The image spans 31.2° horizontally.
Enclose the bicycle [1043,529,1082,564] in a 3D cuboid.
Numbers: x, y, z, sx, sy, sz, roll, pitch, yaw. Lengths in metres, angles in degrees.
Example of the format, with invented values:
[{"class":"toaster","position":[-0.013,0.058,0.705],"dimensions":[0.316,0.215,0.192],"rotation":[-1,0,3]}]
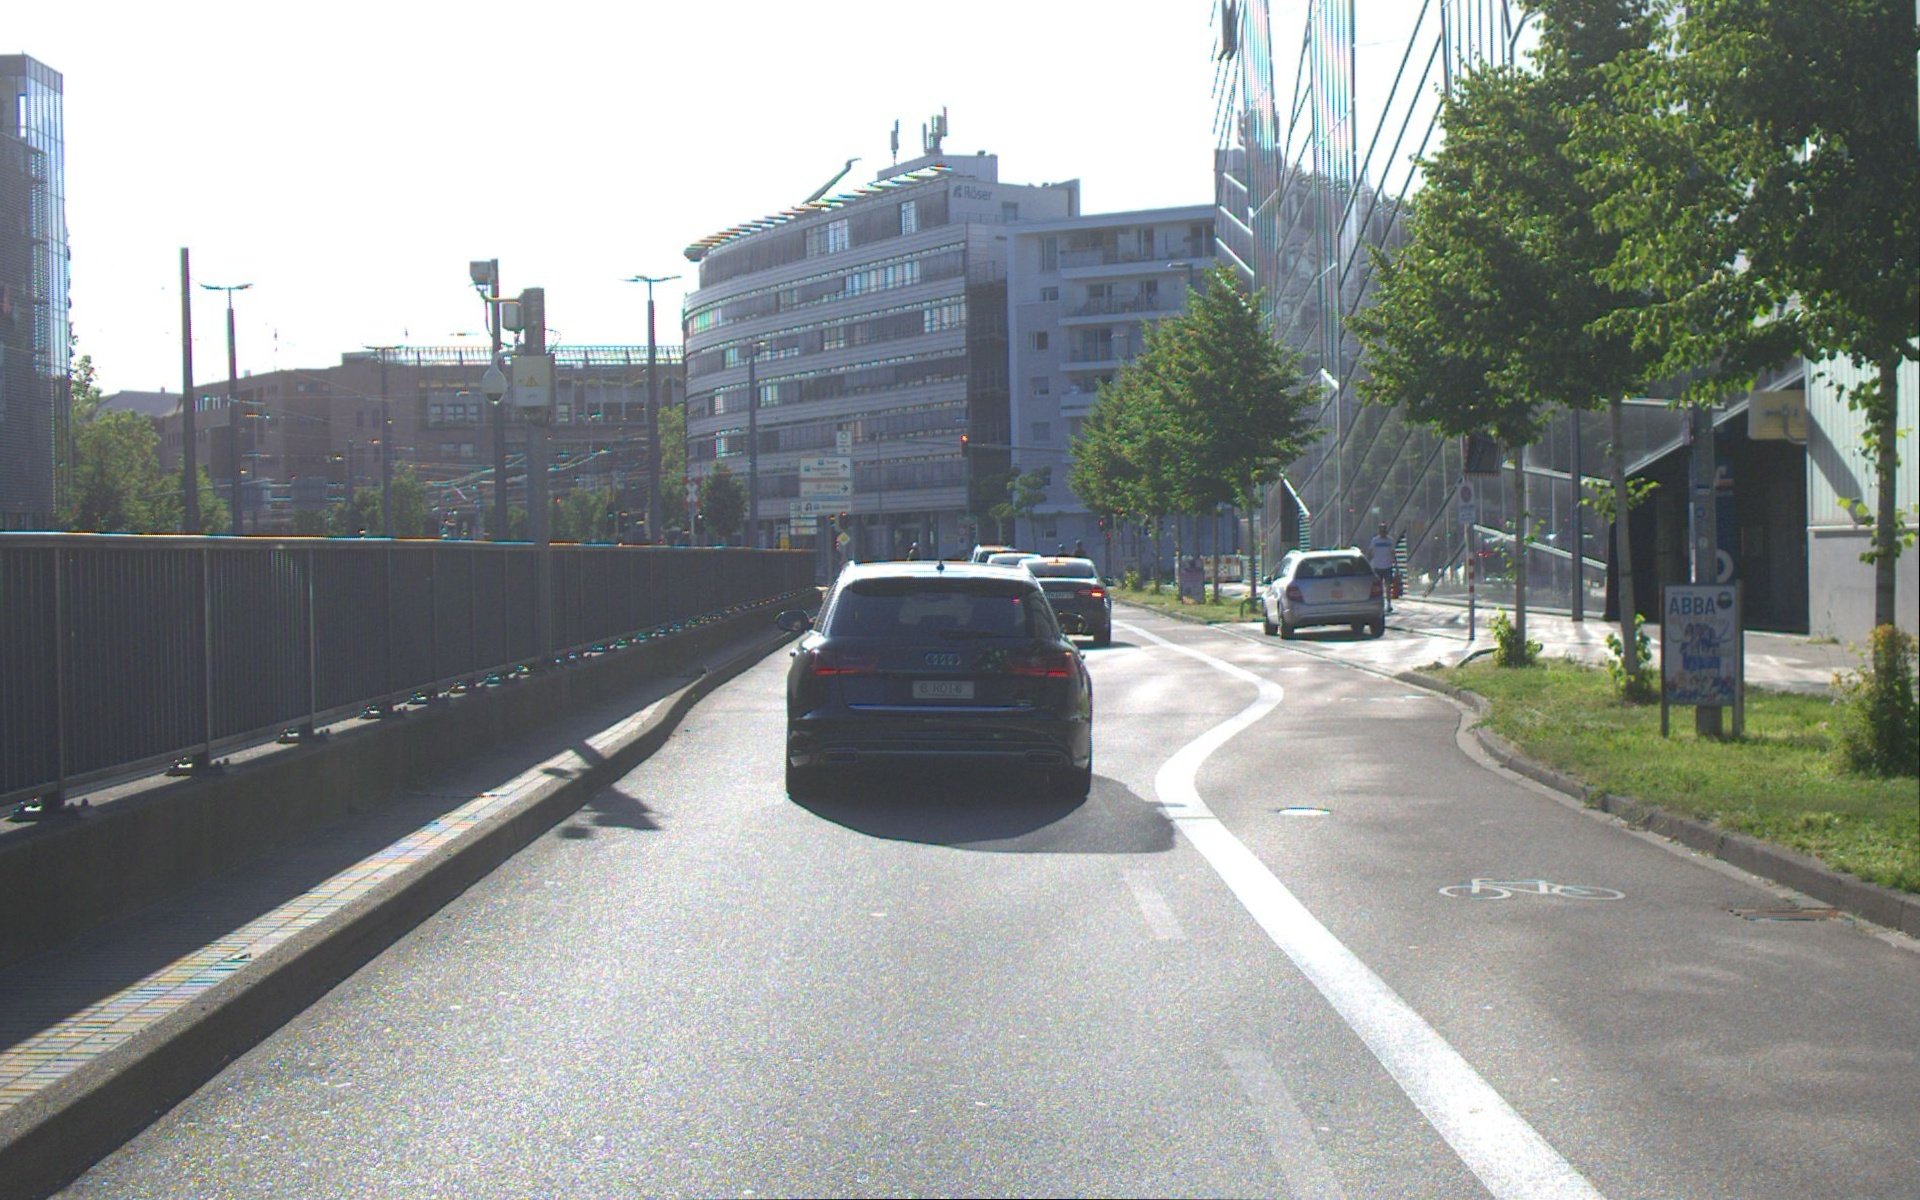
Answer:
[{"class":"bicycle","position":[3.586,-1.859,120.123],"dimensions":[0.724,1.180,2.094],"rotation":[-3,1,-16]}]

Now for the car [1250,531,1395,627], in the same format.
[{"class":"car","position":[6.190,-0.394,59.190],"dimensions":[1.852,1.476,4.854],"rotation":[-3,1,-1]}]

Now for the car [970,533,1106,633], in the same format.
[{"class":"car","position":[1.232,-0.298,55.986],"dimensions":[1.852,1.541,4.001],"rotation":[0,1,-4]}]

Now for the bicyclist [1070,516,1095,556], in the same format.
[{"class":"bicyclist","position":[4.481,-2.346,125.695],"dimensions":[0.724,1.413,0.892],"rotation":[-2,1,-7]}]

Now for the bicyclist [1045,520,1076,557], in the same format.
[{"class":"bicyclist","position":[3.512,-2.154,120.110],"dimensions":[0.724,1.264,1.036],"rotation":[-3,1,-16]}]

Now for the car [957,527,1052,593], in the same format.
[{"class":"car","position":[1.023,-0.968,81.178],"dimensions":[1.993,1.460,4.001],"rotation":[0,2,-3]}]

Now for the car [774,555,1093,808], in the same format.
[{"class":"car","position":[-0.192,0.443,22.175],"dimensions":[1.812,1.422,4.690],"rotation":[-1,1,-1]}]

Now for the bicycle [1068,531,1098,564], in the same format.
[{"class":"bicycle","position":[4.484,-1.920,125.680],"dimensions":[0.724,1.180,2.094],"rotation":[-2,1,-7]}]

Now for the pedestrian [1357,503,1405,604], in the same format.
[{"class":"pedestrian","position":[8.494,-0.945,69.408],"dimensions":[0.836,2.007,0.689],"rotation":[-2,1,1]}]
